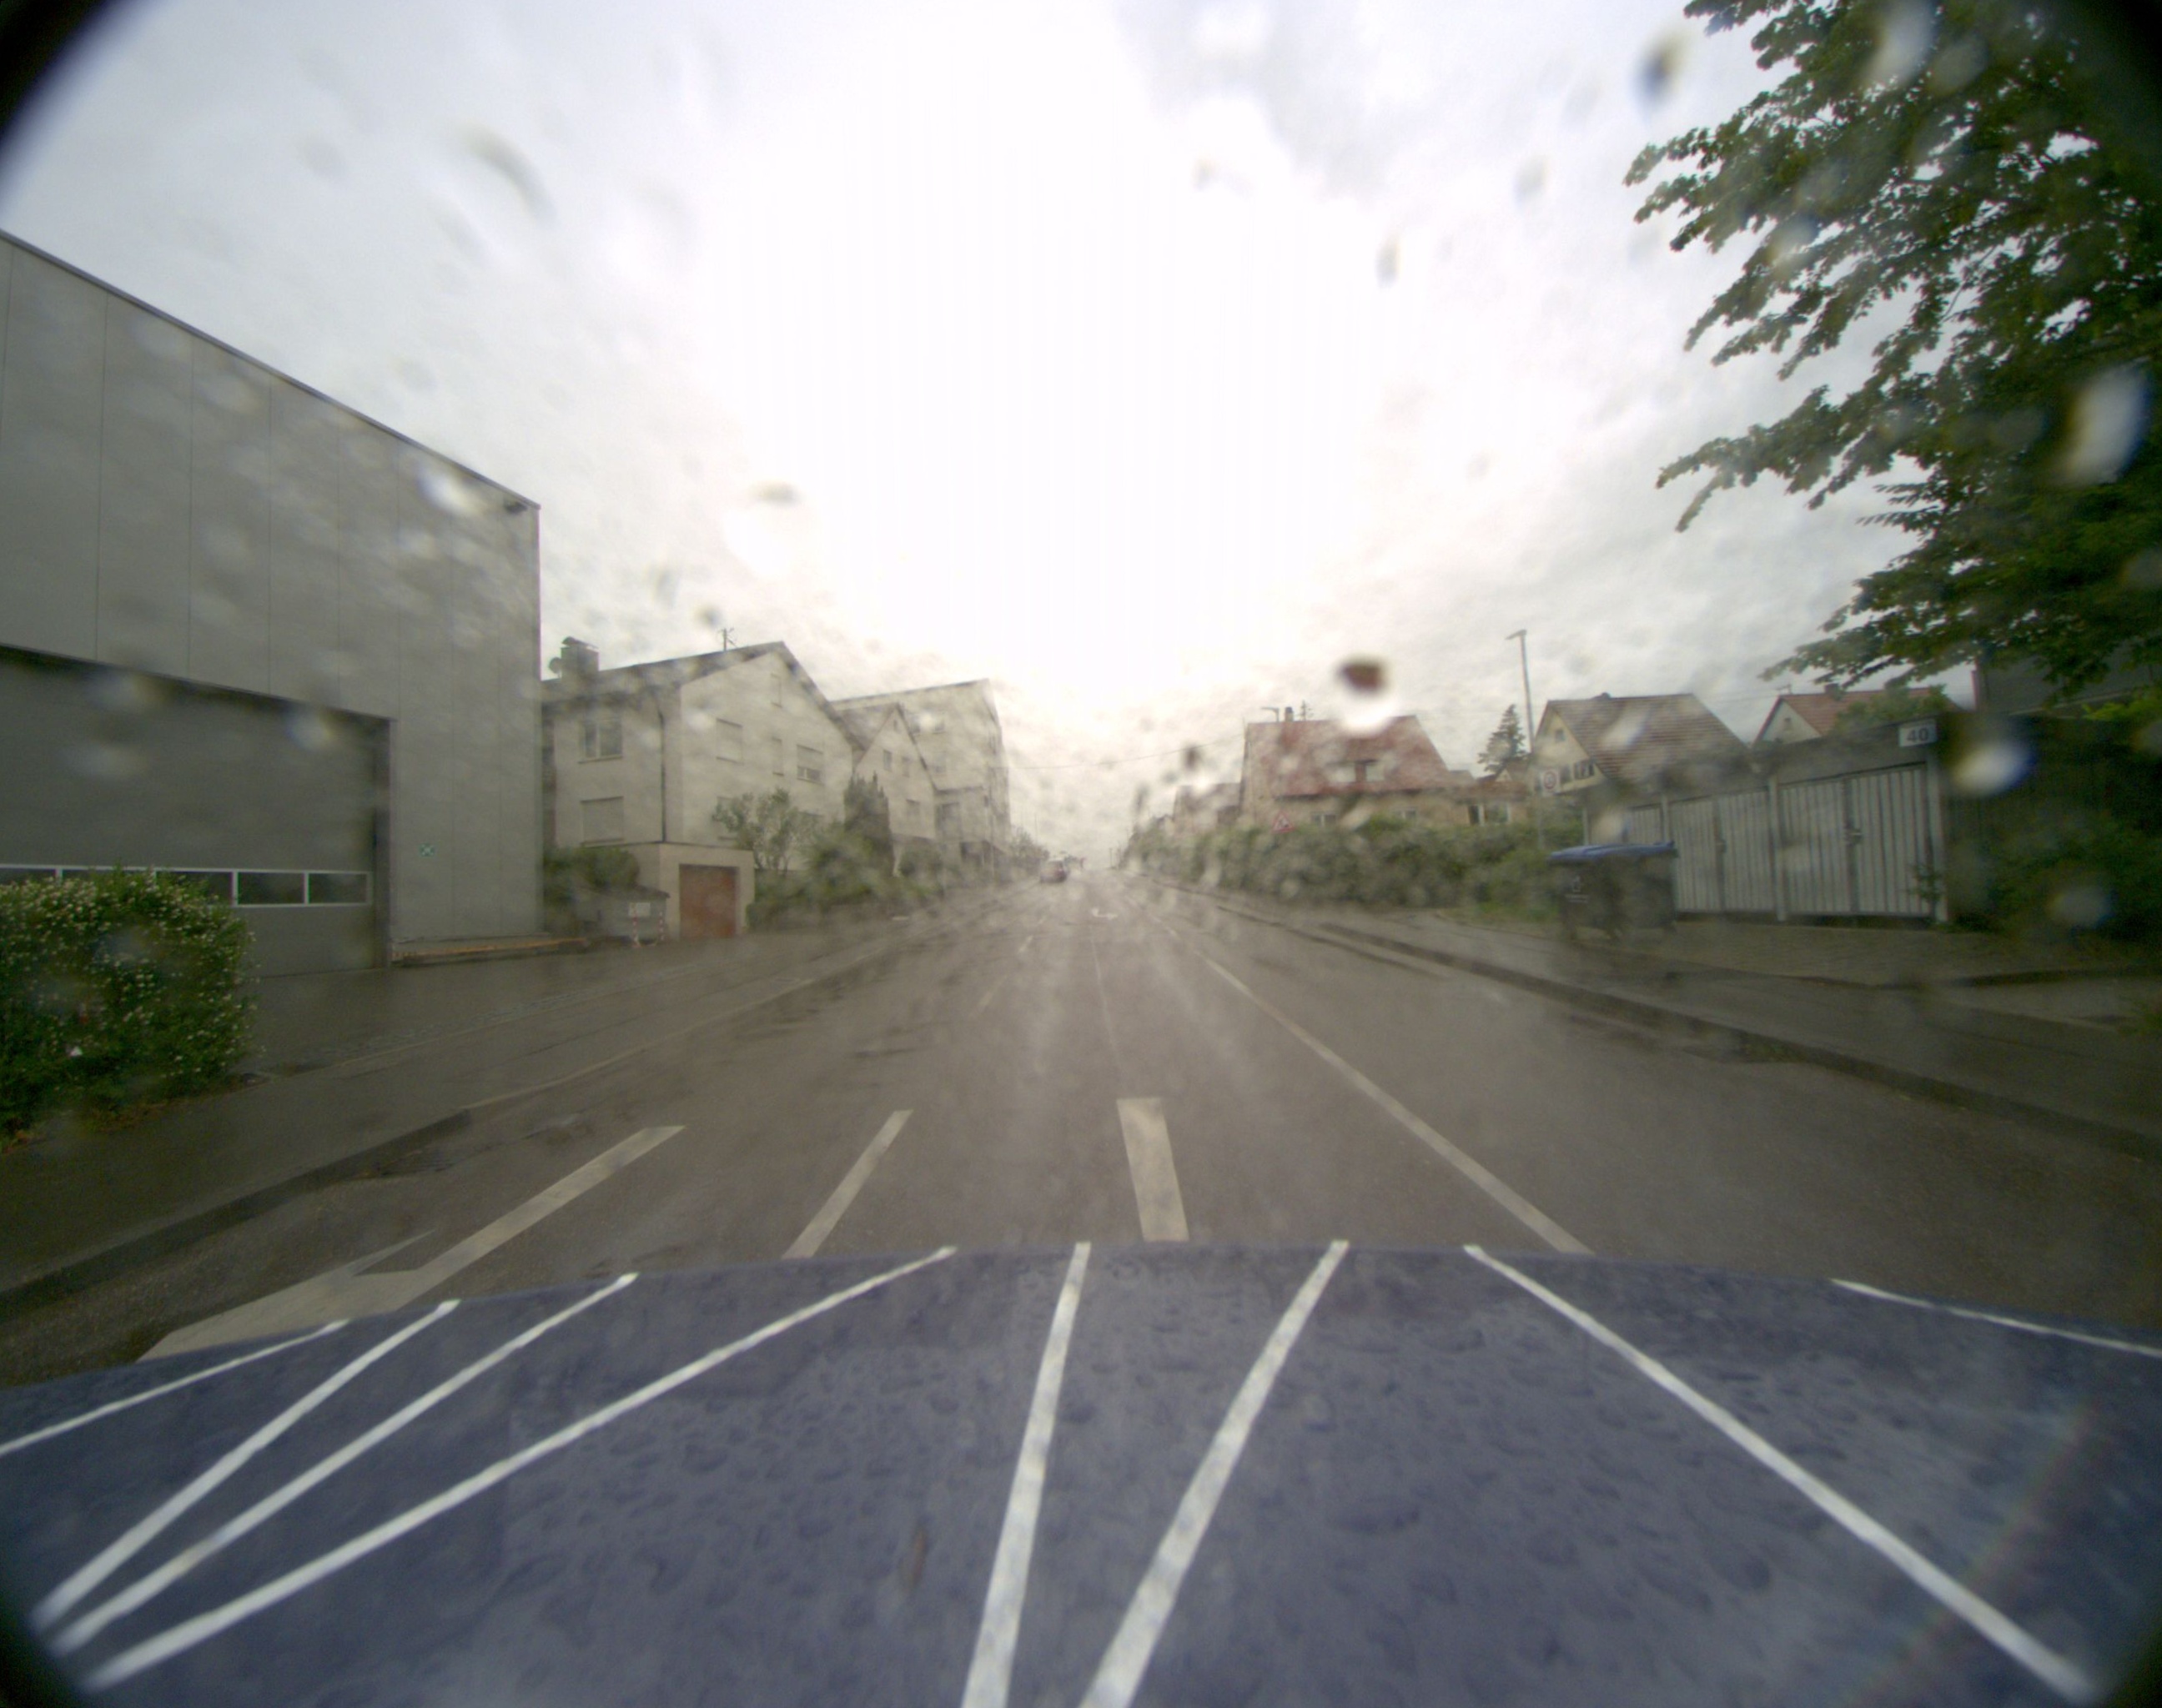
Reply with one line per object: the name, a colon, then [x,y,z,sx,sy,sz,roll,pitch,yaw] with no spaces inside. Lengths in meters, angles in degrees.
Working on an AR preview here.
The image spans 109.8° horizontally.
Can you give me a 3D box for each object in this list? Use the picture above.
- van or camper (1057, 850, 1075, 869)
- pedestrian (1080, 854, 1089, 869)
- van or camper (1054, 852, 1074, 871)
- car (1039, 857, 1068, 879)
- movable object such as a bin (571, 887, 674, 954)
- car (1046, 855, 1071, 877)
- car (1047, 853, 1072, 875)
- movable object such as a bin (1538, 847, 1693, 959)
van or camper: [-1.820,0.673,92.367,1.998,2.229,5.441,-2,0,0]
pedestrian: [0.489,0.995,102.729,1.063,1.924,1.091,-3,0,-3]
van or camper: [-1.868,0.861,86.289,1.998,2.101,5.203,-2,0,0]
car: [-2.169,1.107,61.484,1.998,1.635,4.958,-3,0,1]
movable object such as a bin: [-11.436,1.630,19.022,1.263,1.509,1.781,-2,0,16]
car: [-1.950,1.021,66.710,1.883,1.823,4.489,-3,0,1]
car: [-2.004,0.921,72.488,1.998,1.923,4.976,-3,0,1]
movable object such as a bin: [7.162,0.618,10.277,1.074,1.339,1.319,-4,0,-1]
